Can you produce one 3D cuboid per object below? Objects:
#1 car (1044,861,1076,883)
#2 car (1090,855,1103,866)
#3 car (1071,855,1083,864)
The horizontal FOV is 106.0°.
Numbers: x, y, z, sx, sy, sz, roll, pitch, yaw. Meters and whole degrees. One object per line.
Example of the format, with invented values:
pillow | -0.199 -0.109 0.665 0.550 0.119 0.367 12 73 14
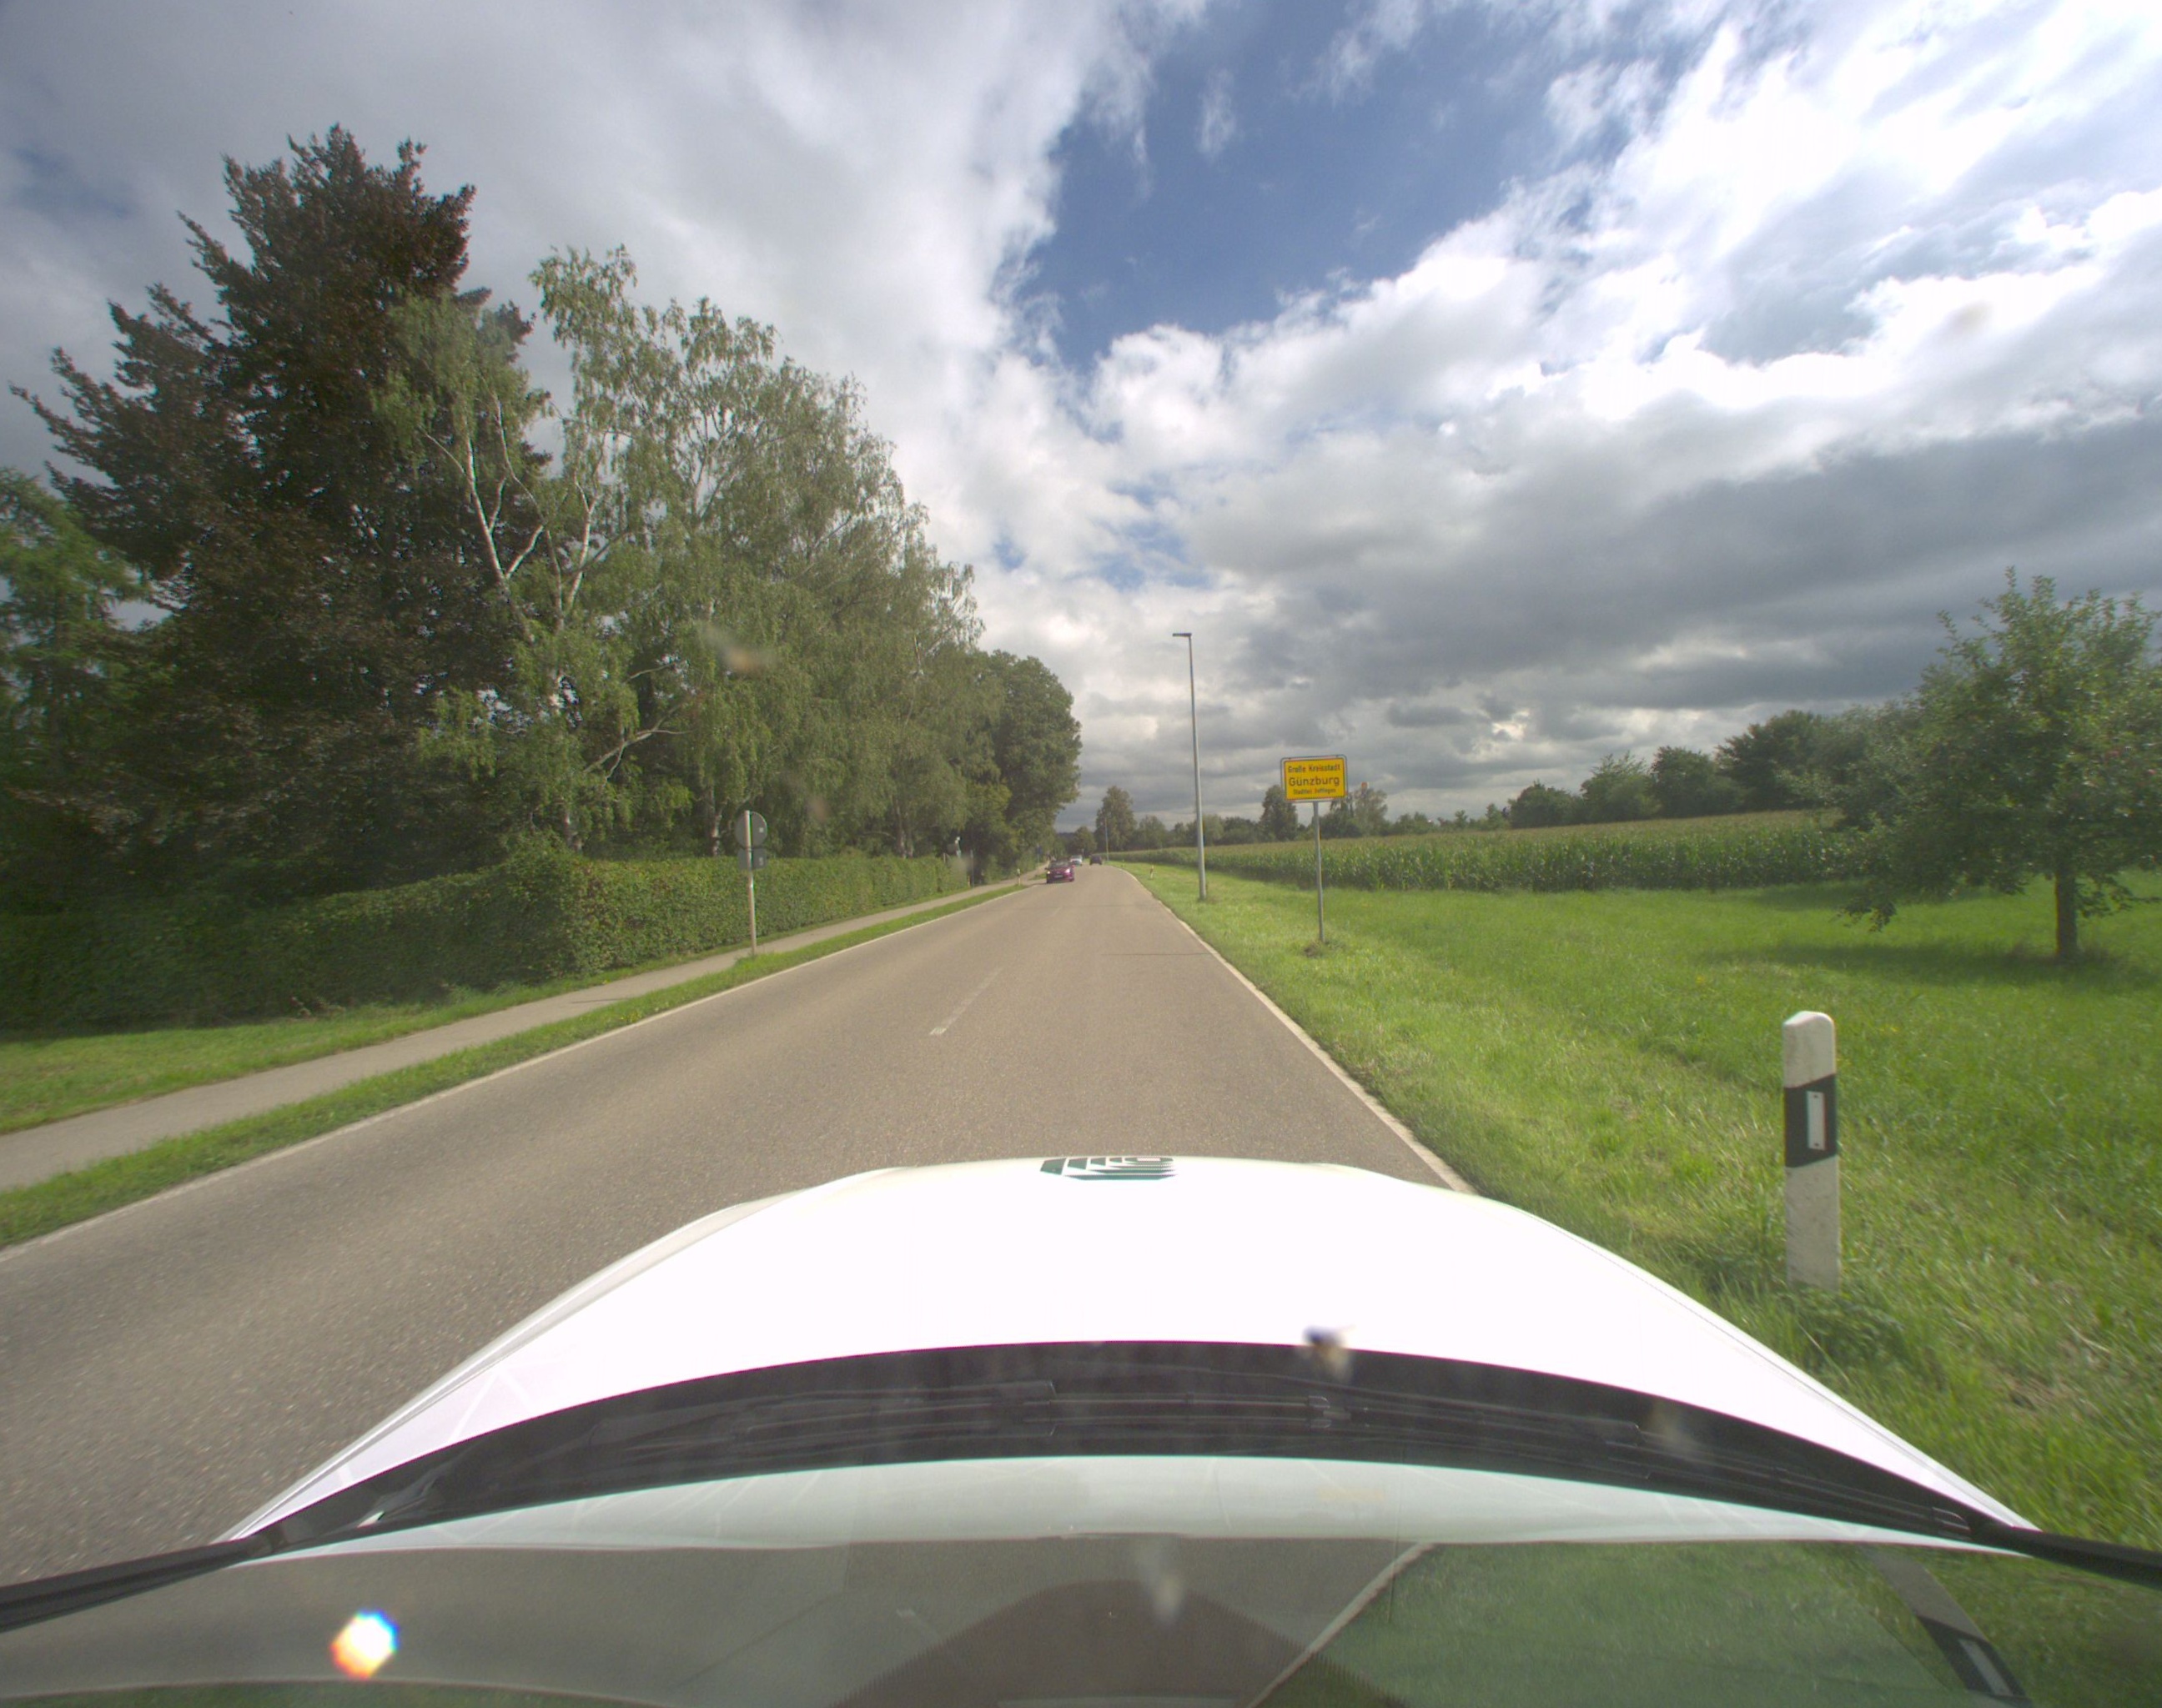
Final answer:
car | -1.328 1.135 52.711 1.739 1.222 3.545 -4 0 2
car | 2.539 1.020 131.581 1.899 1.666 4.002 -4 0 2
car | -0.601 0.908 128.105 1.739 1.222 3.545 -4 0 2
